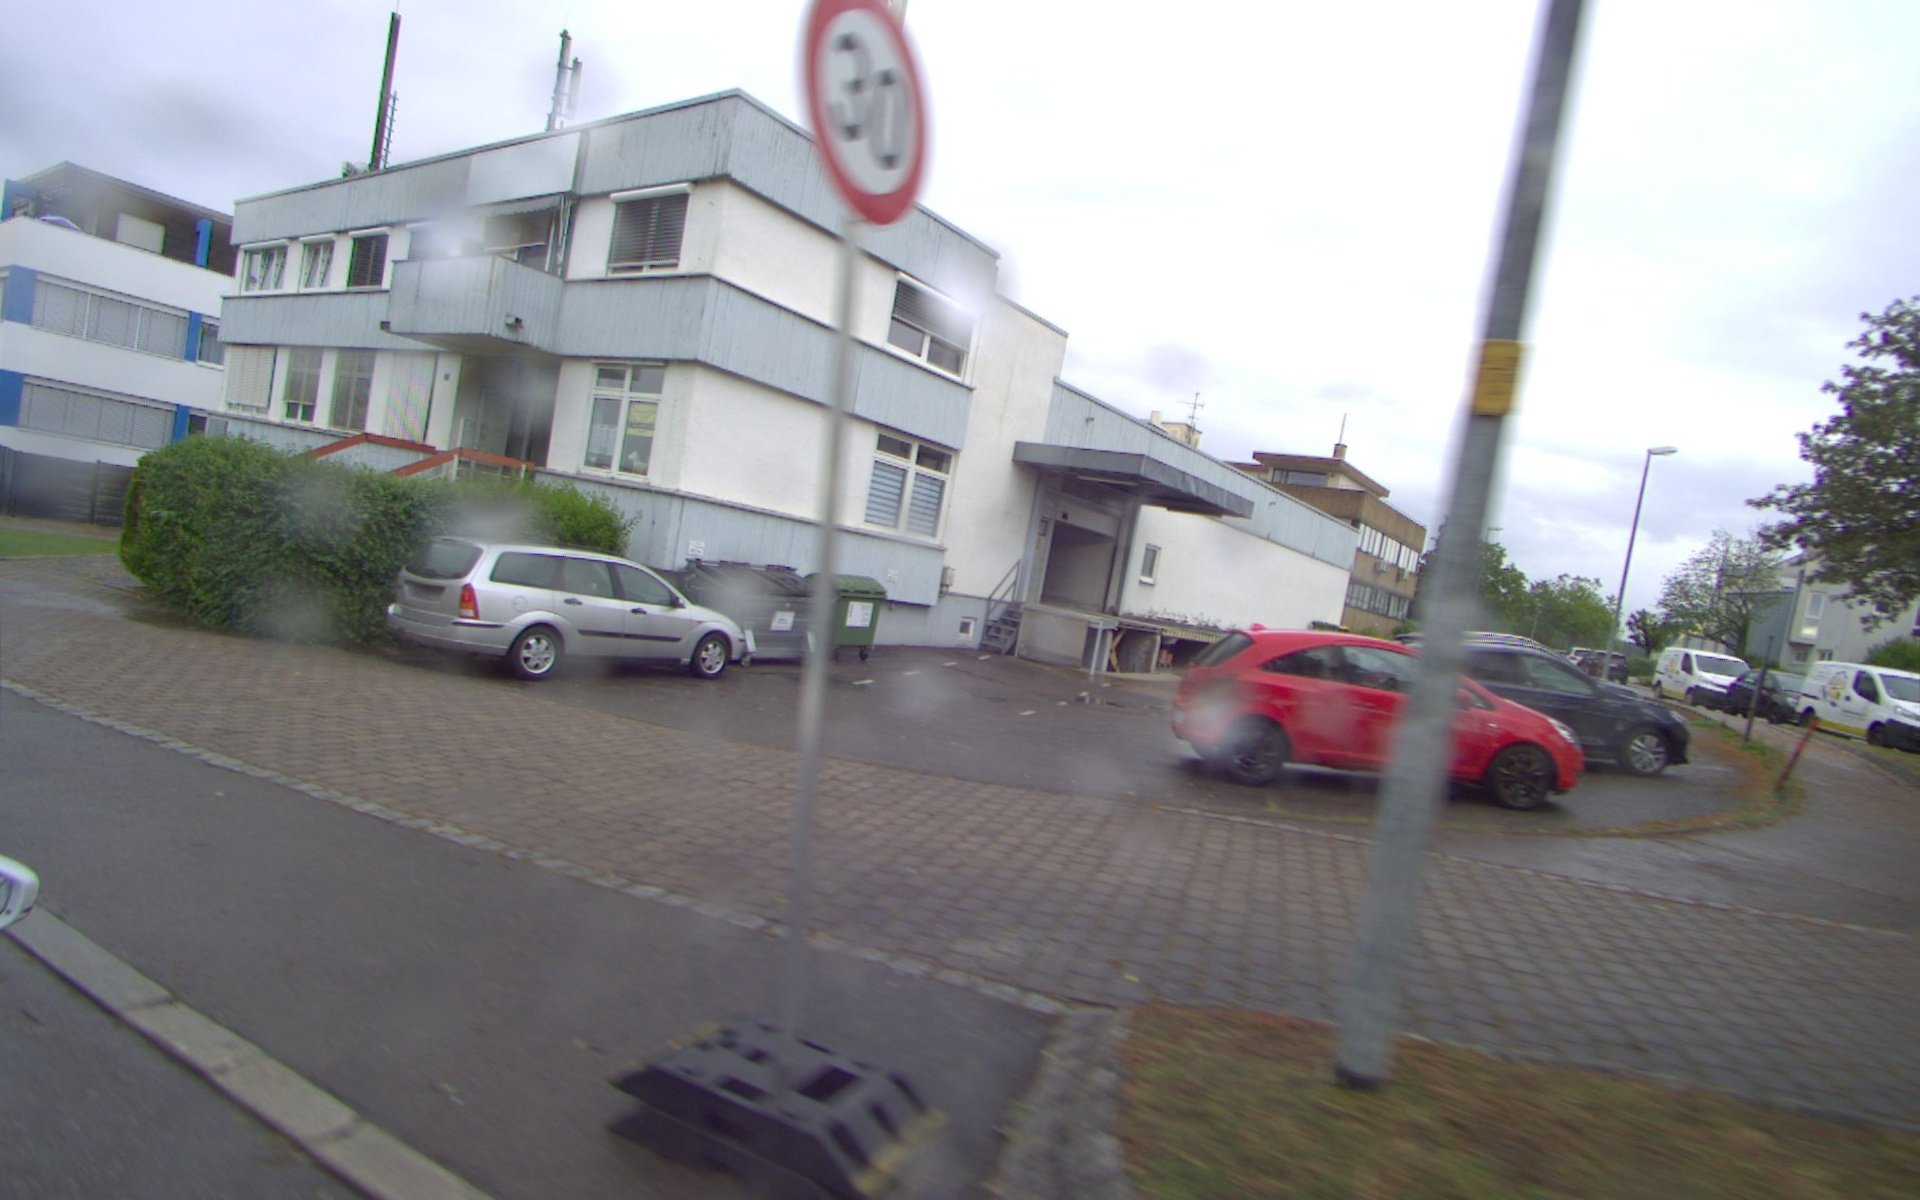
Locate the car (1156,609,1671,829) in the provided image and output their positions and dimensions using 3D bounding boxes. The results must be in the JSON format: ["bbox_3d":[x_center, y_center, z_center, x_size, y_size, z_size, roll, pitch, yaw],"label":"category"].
[{"bbox_3d":[4.335,1.105,10.192,4.245,1.605,1.858,5,1,2],"label":"car"}]

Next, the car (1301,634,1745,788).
[{"bbox_3d":[7.199,1.395,13.185,4.741,1.606,1.856,3,1,-3],"label":"car"}]

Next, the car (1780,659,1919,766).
[{"bbox_3d":[20.503,2.505,22.184,1.895,1.953,4.422,10,1,16],"label":"car"}]

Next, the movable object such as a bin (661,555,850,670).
[{"bbox_3d":[-3.215,0.210,15.954,1.706,1.523,2.264,9,3,37],"label":"movable object such as a bin"}]

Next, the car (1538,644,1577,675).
[{"bbox_3d":[43.550,4.365,73.336,2.157,1.899,3.991,9,1,31],"label":"car"}]

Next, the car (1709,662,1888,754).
[{"bbox_3d":[21.702,2.727,26.273,1.919,1.754,4.019,10,1,17],"label":"car"}]

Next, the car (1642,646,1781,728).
[{"bbox_3d":[23.454,2.644,31.599,1.919,1.994,4.157,10,1,17],"label":"car"}]

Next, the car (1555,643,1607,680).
[{"bbox_3d":[36.776,3.626,59.664,1.870,1.764,3.994,9,3,24],"label":"car"}]

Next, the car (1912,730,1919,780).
[{"bbox_3d":[19.031,2.723,17.507,1.800,1.689,3.830,8,1,15],"label":"car"}]

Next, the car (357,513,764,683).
[{"bbox_3d":[-4.698,0.072,12.471,1.828,1.604,4.314,8,1,34],"label":"car"}]

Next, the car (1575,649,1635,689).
[{"bbox_3d":[34.496,3.652,53.908,1.897,1.723,3.994,9,3,23],"label":"car"}]

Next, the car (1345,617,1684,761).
[{"bbox_3d":[8.832,1.389,16.250,4.379,1.820,1.858,5,-1,-4],"label":"car"}]

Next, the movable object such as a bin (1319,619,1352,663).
[{"bbox_3d":[15.668,1.716,41.935,0.535,1.684,1.981,8,2,37],"label":"movable object such as a bin"}]

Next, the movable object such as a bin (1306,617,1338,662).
[{"bbox_3d":[14.554,1.587,40.423,0.535,1.684,1.738,8,2,37],"label":"movable object such as a bin"}]

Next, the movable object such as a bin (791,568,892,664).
[{"bbox_3d":[-2.081,0.288,17.739,1.013,1.516,1.303,9,4,37],"label":"movable object such as a bin"}]
